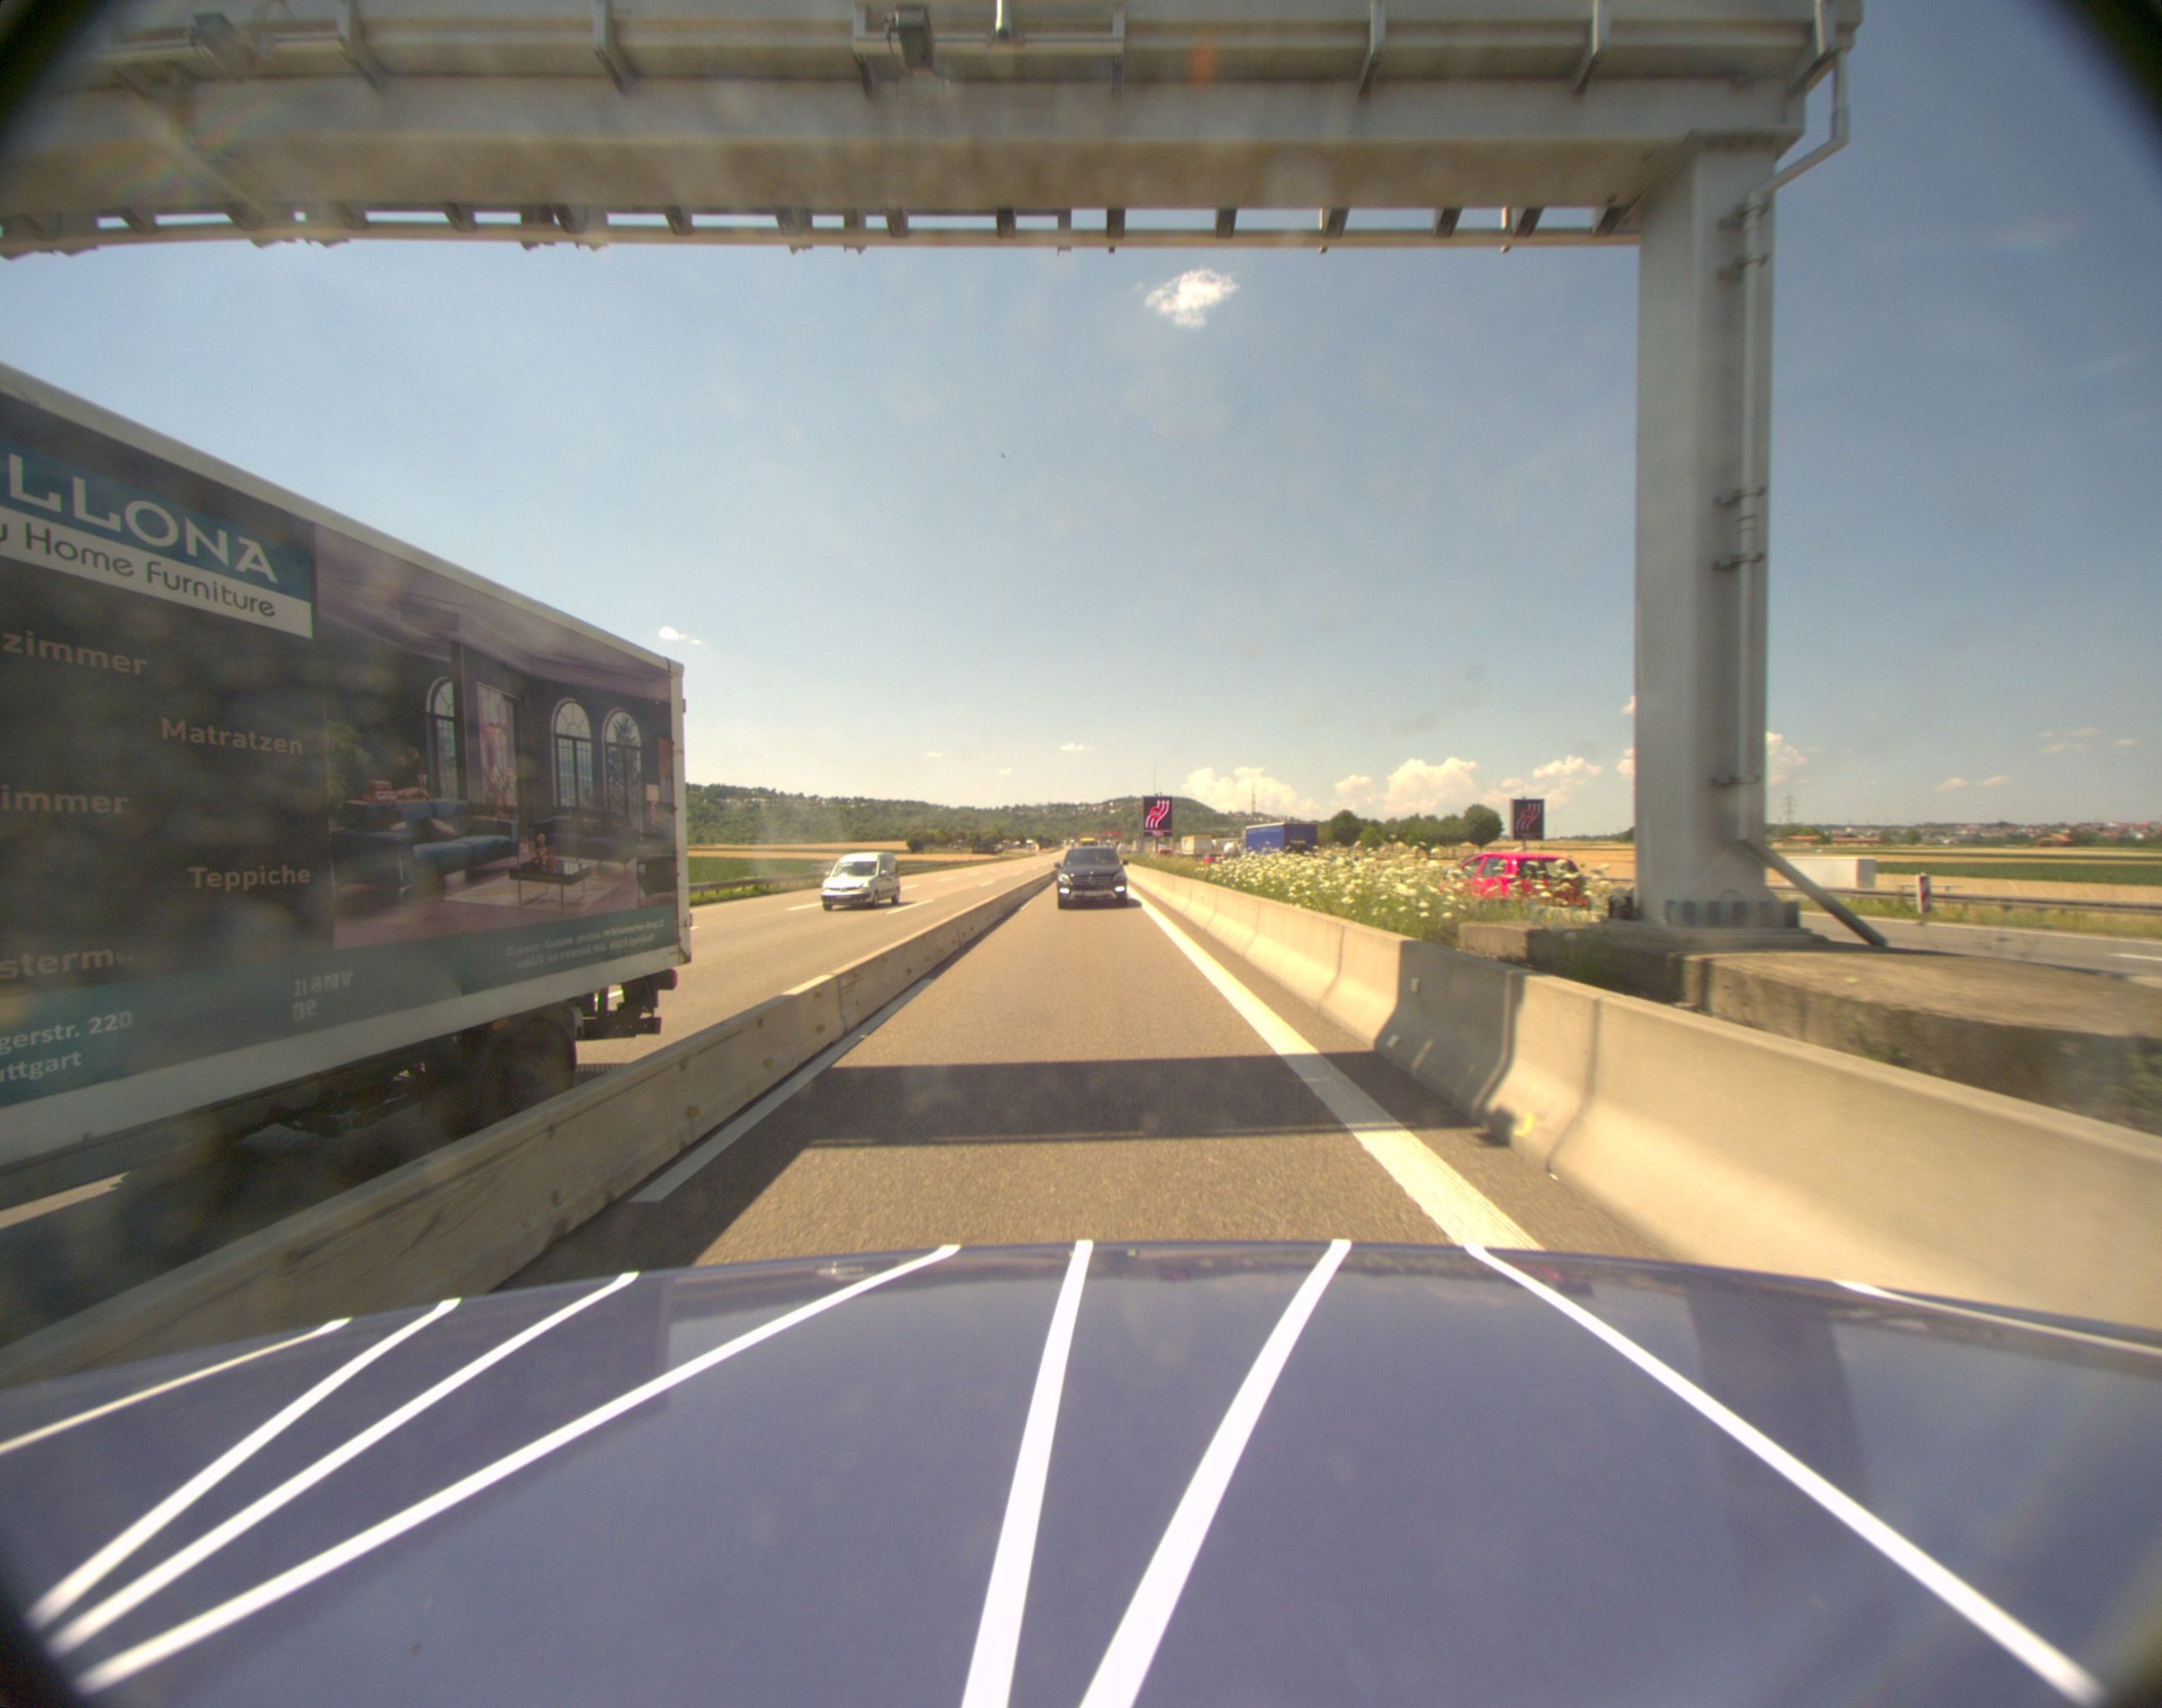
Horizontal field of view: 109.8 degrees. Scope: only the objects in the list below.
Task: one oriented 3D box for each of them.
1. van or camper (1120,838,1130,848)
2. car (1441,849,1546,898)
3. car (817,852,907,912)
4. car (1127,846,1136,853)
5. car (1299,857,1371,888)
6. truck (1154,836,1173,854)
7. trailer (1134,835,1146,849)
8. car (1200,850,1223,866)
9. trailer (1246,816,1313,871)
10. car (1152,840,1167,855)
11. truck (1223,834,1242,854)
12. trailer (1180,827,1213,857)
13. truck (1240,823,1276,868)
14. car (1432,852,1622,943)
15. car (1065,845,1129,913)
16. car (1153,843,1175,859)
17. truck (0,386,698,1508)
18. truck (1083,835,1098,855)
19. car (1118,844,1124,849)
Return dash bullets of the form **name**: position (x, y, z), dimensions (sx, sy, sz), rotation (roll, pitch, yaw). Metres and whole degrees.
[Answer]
- **van or camper**: position (11.000, -2.708, 190.016), dimensions (2.040, 2.208, 7.207), rotation (-2, 1, 1)
- **car**: position (15.847, 0.689, 29.484), dimensions (1.837, 1.709, 4.080), rotation (1, 1, 0)
- **car**: position (-6.965, 0.836, 24.593), dimensions (1.630, 1.727, 3.972), rotation (-2, 0, 1)
- **car**: position (10.441, -0.953, 158.156), dimensions (1.601, 1.460, 4.533), rotation (0, 1, 0)
- **car**: position (11.854, 0.823, 35.817), dimensions (1.837, 1.316, 4.280), rotation (1, 0, -2)
- **truck**: position (18.187, -2.014, 168.111), dimensions (2.801, 3.589, 13.287), rotation (2, 1, 1)
- **trailer**: position (18.584, -3.836, 238.471), dimensions (2.900, 4.350, 12.991), rotation (1, 1, 1)
- **car**: position (12.577, 0.371, 73.445), dimensions (1.592, 1.499, 4.228), rotation (0, 1, 1)
- **trailer**: position (16.296, -0.826, 63.538), dimensions (2.392, 4.063, 14.097), rotation (0, 1, 2)
- **car**: position (13.528, -1.094, 131.711), dimensions (2.052, 2.487, 5.811), rotation (0, 1, 0)
- **truck**: position (30.587, -2.023, 152.986), dimensions (2.903, 3.755, 13.303), rotation (2, 1, 15)
- **trailer**: position (16.929, -1.682, 111.959), dimensions (2.817, 4.104, 14.128), rotation (0, 1, 0)
- **truck**: position (16.546, -0.784, 71.192), dimensions (2.417, 4.063, 4.659), rotation (0, 1, 1)
- **car**: position (8.535, 0.745, 14.946), dimensions (1.563, 1.561, 3.704), rotation (0, 0, 0)
- **car**: position (0.471, 0.651, 21.990), dimensions (1.630, 1.711, 3.864), rotation (-3, 0, 1)
- **car**: position (9.190, -0.371, 84.502), dimensions (1.899, 1.569, 4.935), rotation (-2, 2, 0)
- **truck**: position (-4.103, 0.265, 2.290), dimensions (2.326, 3.049, 6.750), rotation (-2, 0, 0)
- **truck**: position (1.607, -1.614, 127.429), dimensions (2.272, 3.139, 8.185), rotation (-2, 2, 1)
- **car**: position (11.679, -2.252, 221.774), dimensions (1.786, 1.580, 4.540), rotation (-1, 1, 1)
